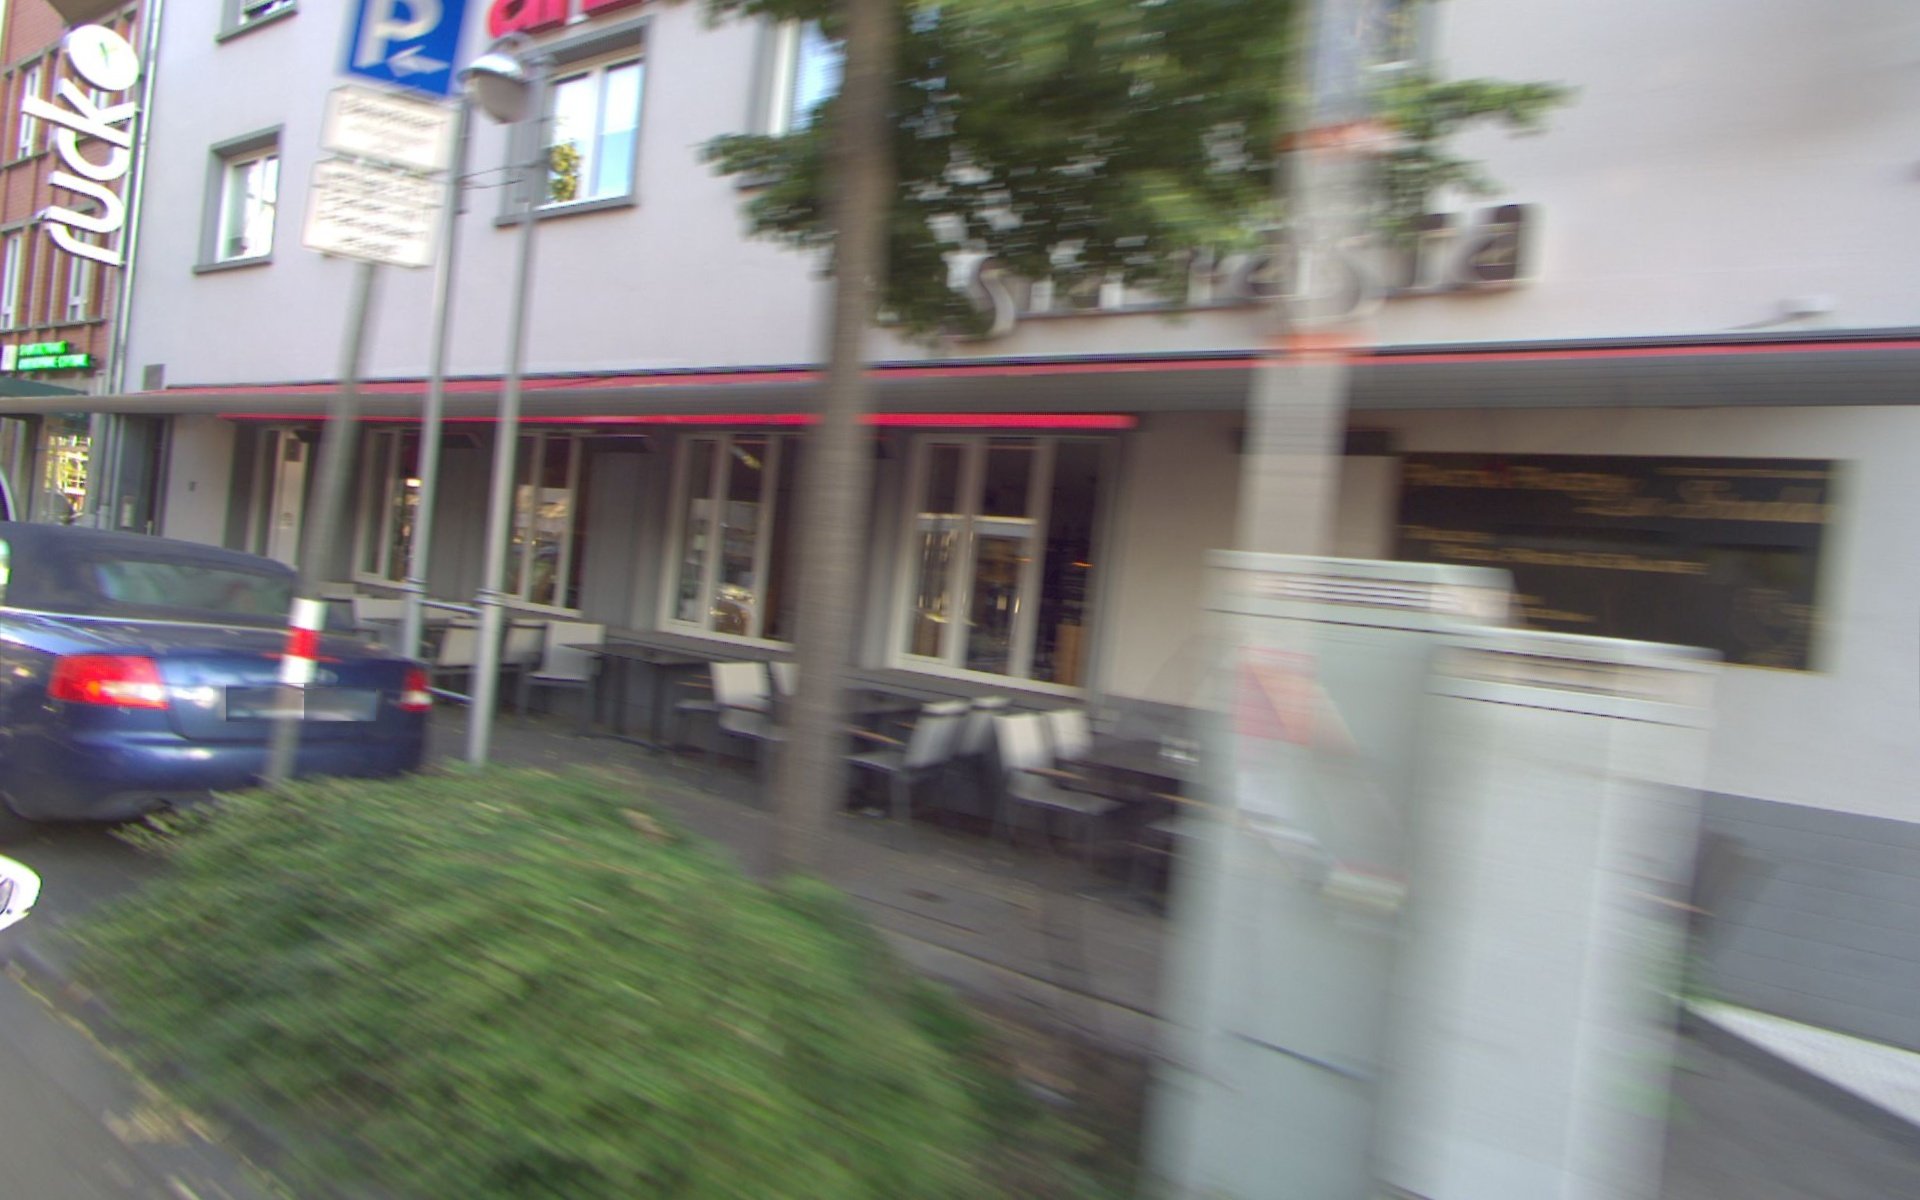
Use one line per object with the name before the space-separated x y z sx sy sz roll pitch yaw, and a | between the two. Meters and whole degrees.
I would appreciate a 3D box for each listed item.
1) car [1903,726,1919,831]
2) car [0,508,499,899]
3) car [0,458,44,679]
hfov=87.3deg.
car | 14.151 2.581 12.738 1.948 1.487 4.473 2 -1 26
car | -4.741 0.283 5.405 4.111 1.392 1.942 6 -3 29
car | -9.868 -0.514 8.582 3.942 1.799 1.658 7 -1 28
